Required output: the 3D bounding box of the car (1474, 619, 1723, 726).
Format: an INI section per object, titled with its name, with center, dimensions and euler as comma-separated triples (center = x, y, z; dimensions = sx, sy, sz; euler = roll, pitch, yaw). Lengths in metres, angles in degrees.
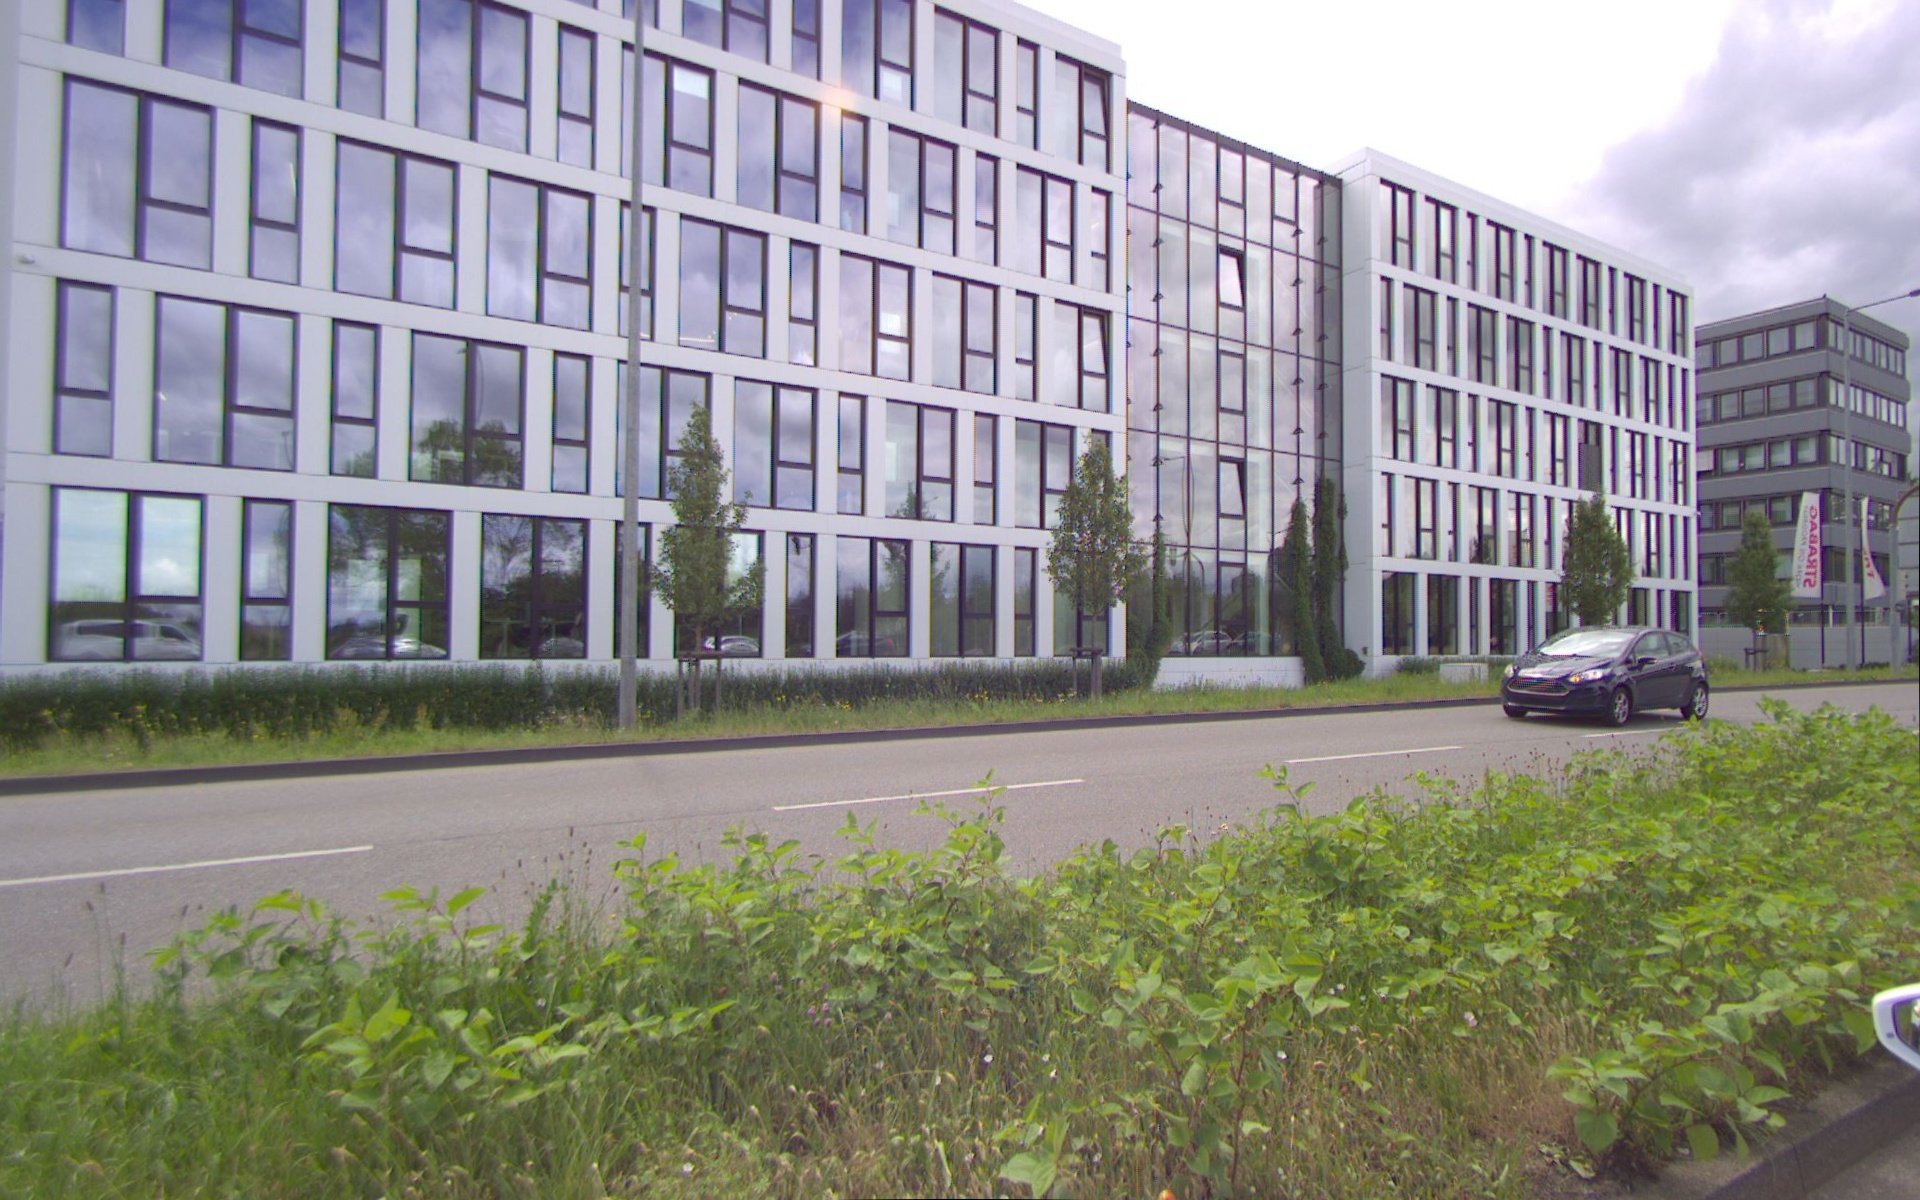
[car]
center = 10.112, 1.086, 15.861
dimensions = 3.847, 1.465, 1.746
euler = 2, 0, -31
